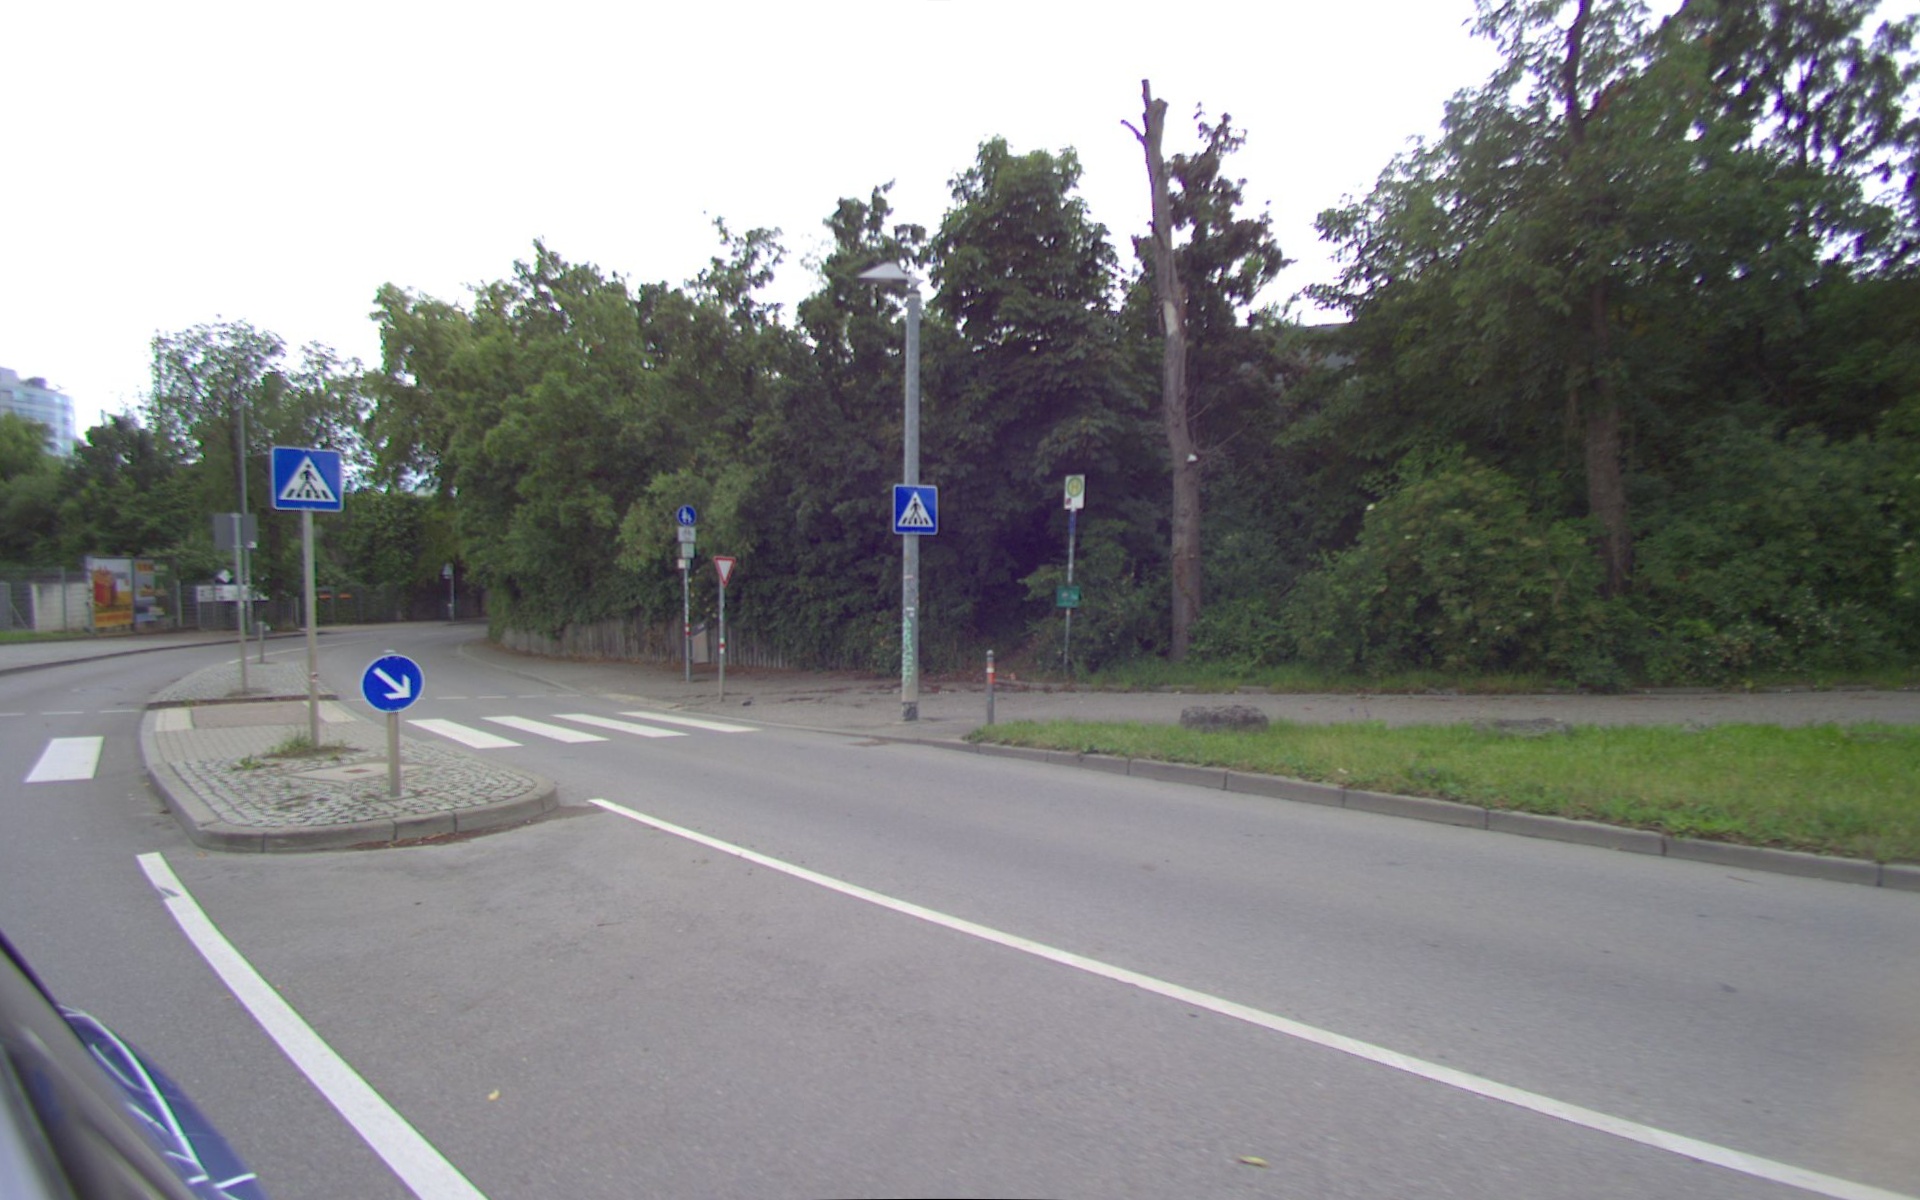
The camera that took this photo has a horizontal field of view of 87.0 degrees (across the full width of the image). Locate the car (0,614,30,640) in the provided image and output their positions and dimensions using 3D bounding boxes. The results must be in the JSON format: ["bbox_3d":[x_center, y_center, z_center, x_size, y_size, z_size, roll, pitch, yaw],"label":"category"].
[{"bbox_3d":[-47.660,1.318,49.201,1.458,1.262,3.353,1,-2,15],"label":"car"}]
